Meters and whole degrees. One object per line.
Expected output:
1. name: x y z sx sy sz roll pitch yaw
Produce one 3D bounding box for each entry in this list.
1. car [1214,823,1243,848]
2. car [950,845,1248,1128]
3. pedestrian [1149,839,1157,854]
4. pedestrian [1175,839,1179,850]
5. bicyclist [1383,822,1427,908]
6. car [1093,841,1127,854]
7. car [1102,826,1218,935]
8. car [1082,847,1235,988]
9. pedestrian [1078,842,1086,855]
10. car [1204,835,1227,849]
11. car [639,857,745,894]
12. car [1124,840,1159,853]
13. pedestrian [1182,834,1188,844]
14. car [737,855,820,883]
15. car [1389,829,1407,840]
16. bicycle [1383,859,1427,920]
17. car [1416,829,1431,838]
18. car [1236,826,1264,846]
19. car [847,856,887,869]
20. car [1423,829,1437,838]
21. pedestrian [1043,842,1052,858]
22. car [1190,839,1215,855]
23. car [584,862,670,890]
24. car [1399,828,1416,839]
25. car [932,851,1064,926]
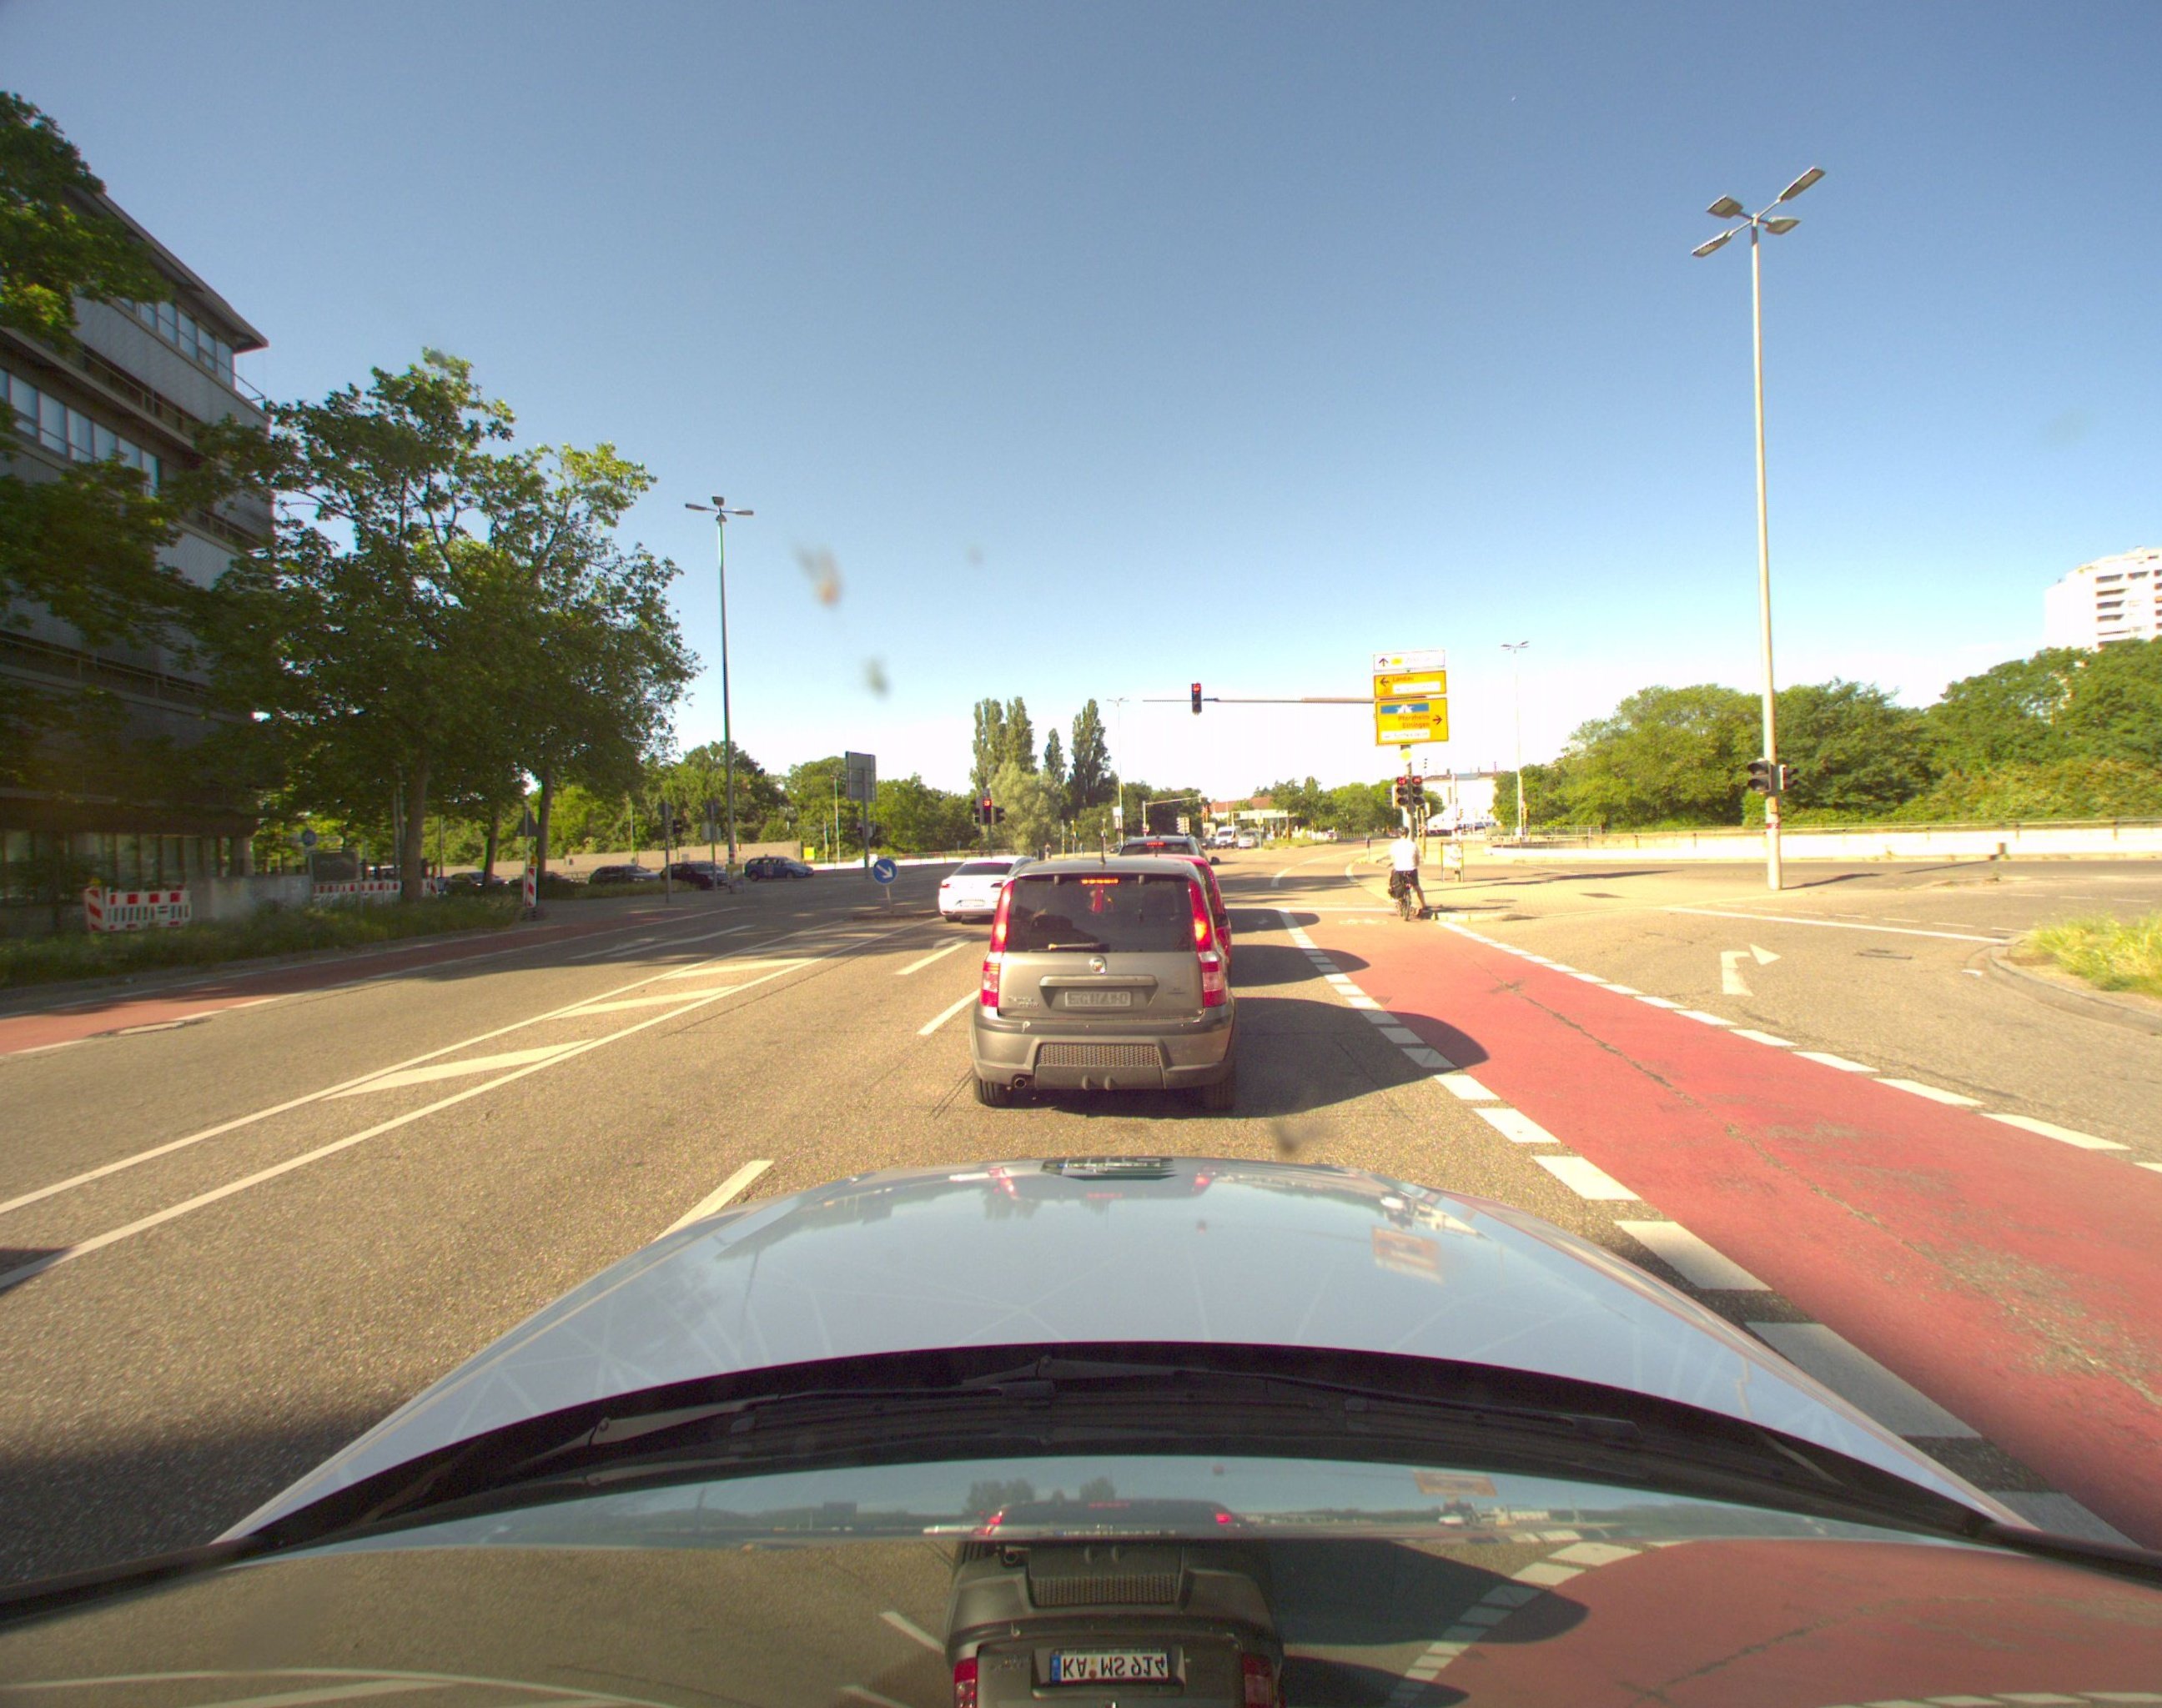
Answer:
1. car: 16.461 -2.097 90.579 1.920 2.576 6.122 -2 1 22
2. car: 0.326 0.737 6.441 1.609 1.515 3.828 -2 1 7
3. pedestrian: 7.904 -0.804 89.502 0.557 1.547 0.573 -3 -1 -14
4. pedestrian: 15.147 -1.437 127.953 0.494 1.701 0.503 -1 -1 26
5. bicyclist: 6.443 0.197 16.244 0.718 1.659 1.118 -1 1 17
6. car: 3.738 -0.873 104.395 4.018 1.625 1.880 0 -1 -37
7. car: 1.712 0.426 16.260 1.933 1.840 4.165 -2 1 10
8. car: 1.075 0.686 10.771 1.609 1.463 3.759 -2 1 7
9. pedestrian: 0.152 -0.693 99.922 0.710 1.547 0.725 -3 -2 -14
10. car: 16.227 -1.477 98.177 1.795 1.541 4.641 -3 1 21
11. car: -19.660 1.083 41.182 4.731 1.621 1.961 -2 1 18
12. car: 7.598 -0.952 102.057 4.351 1.535 1.764 -3 2 -39
13. pedestrian: 16.824 -2.408 131.301 0.713 1.641 0.676 -1 -1 27
14. car: -18.899 0.959 50.935 4.410 1.540 1.960 -2 1 15
15. car: 48.860 -3.032 125.454 1.926 1.528 4.123 -2 1 30
16. bicycle: 6.481 0.676 16.357 0.686 1.102 1.834 -1 1 17
17. car: 63.550 -3.841 151.022 1.926 1.528 4.123 -2 1 30
18. car: 17.979 -1.938 86.587 1.920 2.008 4.959 -2 1 22
19. car: -25.754 1.020 97.838 4.463 1.382 1.796 -1 1 23
20. car: 68.404 -4.057 159.521 1.926 1.528 4.123 -2 1 30
21. pedestrian: -3.087 -0.384 75.101 0.678 1.463 0.702 -2 1 -4
22. car: 13.724 -0.789 91.629 1.920 1.507 4.020 -3 1 19
23. car: -24.924 1.211 44.694 4.452 1.358 1.892 -2 1 27
24. car: 52.678 -3.315 131.330 1.926 1.528 4.123 -2 1 30
25. car: -1.724 0.700 18.594 1.769 1.415 4.333 -1 1 11
